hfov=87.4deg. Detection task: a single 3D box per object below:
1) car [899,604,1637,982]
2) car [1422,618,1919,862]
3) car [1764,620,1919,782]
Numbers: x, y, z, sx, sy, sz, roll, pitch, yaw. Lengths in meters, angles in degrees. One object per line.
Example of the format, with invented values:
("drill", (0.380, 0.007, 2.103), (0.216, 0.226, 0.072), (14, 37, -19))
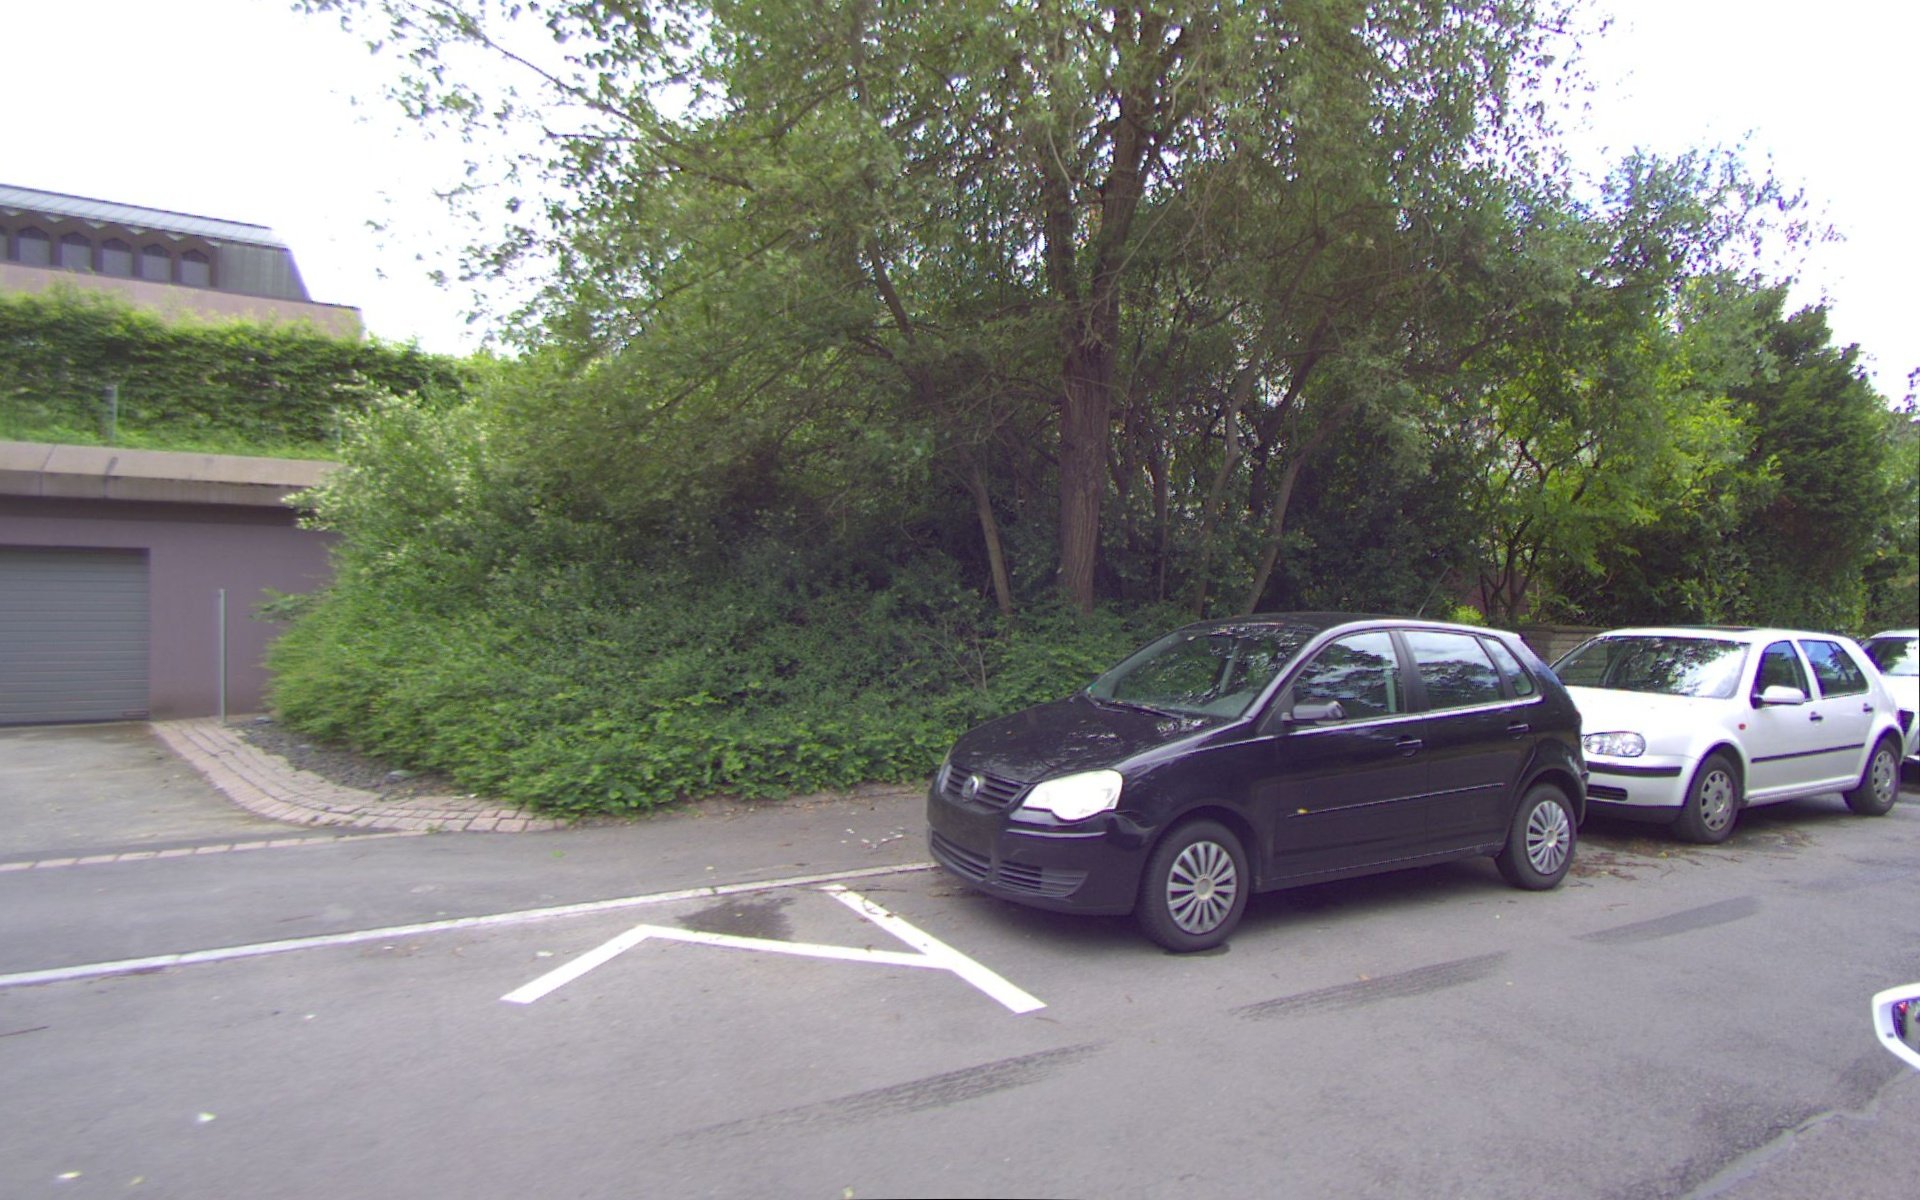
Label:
("car", (1.778, 0.791, 5.555), (3.919, 1.469, 1.616), (1, -1, -28))
("car", (5.787, 0.901, 7.941), (4.327, 1.472, 1.652), (1, 0, -29))
("car", (10.378, 0.979, 10.603), (4.045, 1.469, 1.615), (1, -1, -30))
